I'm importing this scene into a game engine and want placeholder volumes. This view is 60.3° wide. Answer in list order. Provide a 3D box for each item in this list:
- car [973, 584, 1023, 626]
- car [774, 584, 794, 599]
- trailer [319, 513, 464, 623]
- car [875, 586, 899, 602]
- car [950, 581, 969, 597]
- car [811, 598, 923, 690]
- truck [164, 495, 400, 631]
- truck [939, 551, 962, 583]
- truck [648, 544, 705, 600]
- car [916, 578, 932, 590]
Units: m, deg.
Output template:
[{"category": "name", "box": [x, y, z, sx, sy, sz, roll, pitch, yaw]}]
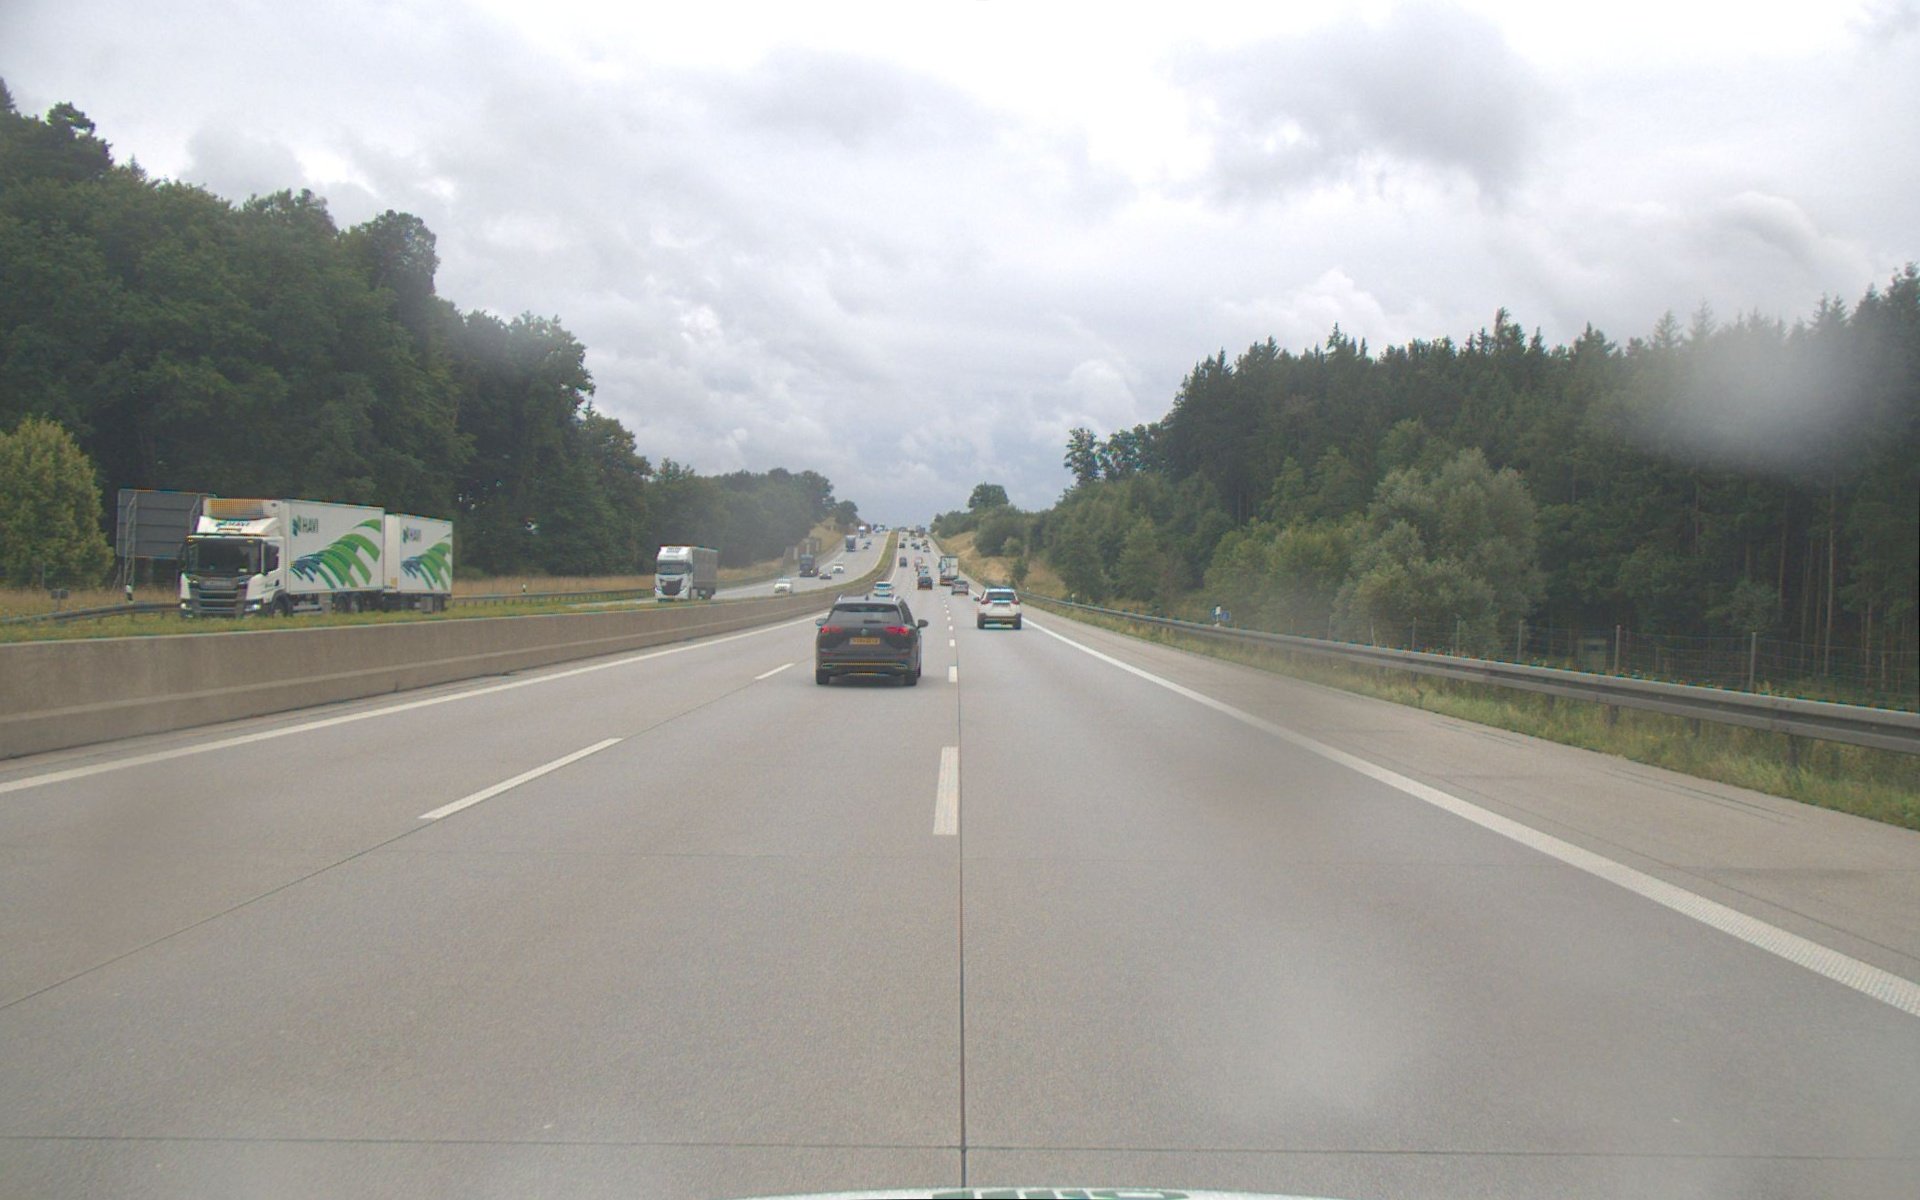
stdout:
[{"category": "car", "box": [1.577, 0.206, 69.337, 1.789, 1.684, 3.982, 1, 0, -3]}, {"category": "car", "box": [-18.419, -0.912, 173.134, 1.747, 1.494, 4.371, 0, 1, -2]}, {"category": "trailer", "box": [-21.275, -1.194, 62.419, 2.761, 3.848, 7.716, 1, 1, 0]}, {"category": "car", "box": [-6.550, -0.552, 148.665, 1.908, 1.379, 4.259, 1, 0, 0]}, {"category": "car", "box": [-0.045, -1.203, 177.606, 1.953, 1.556, 4.000, 3, 1, 0]}, {"category": "car", "box": [-1.535, 0.702, 28.671, 1.717, 1.422, 4.483, 1, 0, -1]}, {"category": "truck", "box": [-21.270, -1.089, 52.878, 2.755, 3.838, 11.351, 1, 0, 0]}, {"category": "truck", "box": [-1.395, -4.740, 234.678, 2.957, 4.252, 8.352, 1, 2, -2]}, {"category": "truck", "box": [-21.561, -2.110, 126.076, 3.147, 4.128, 7.164, 1, 1, -1]}, {"category": "car", "box": [-4.524, -1.952, 206.869, 1.896, 1.399, 4.594, 1, 1, -1]}]
